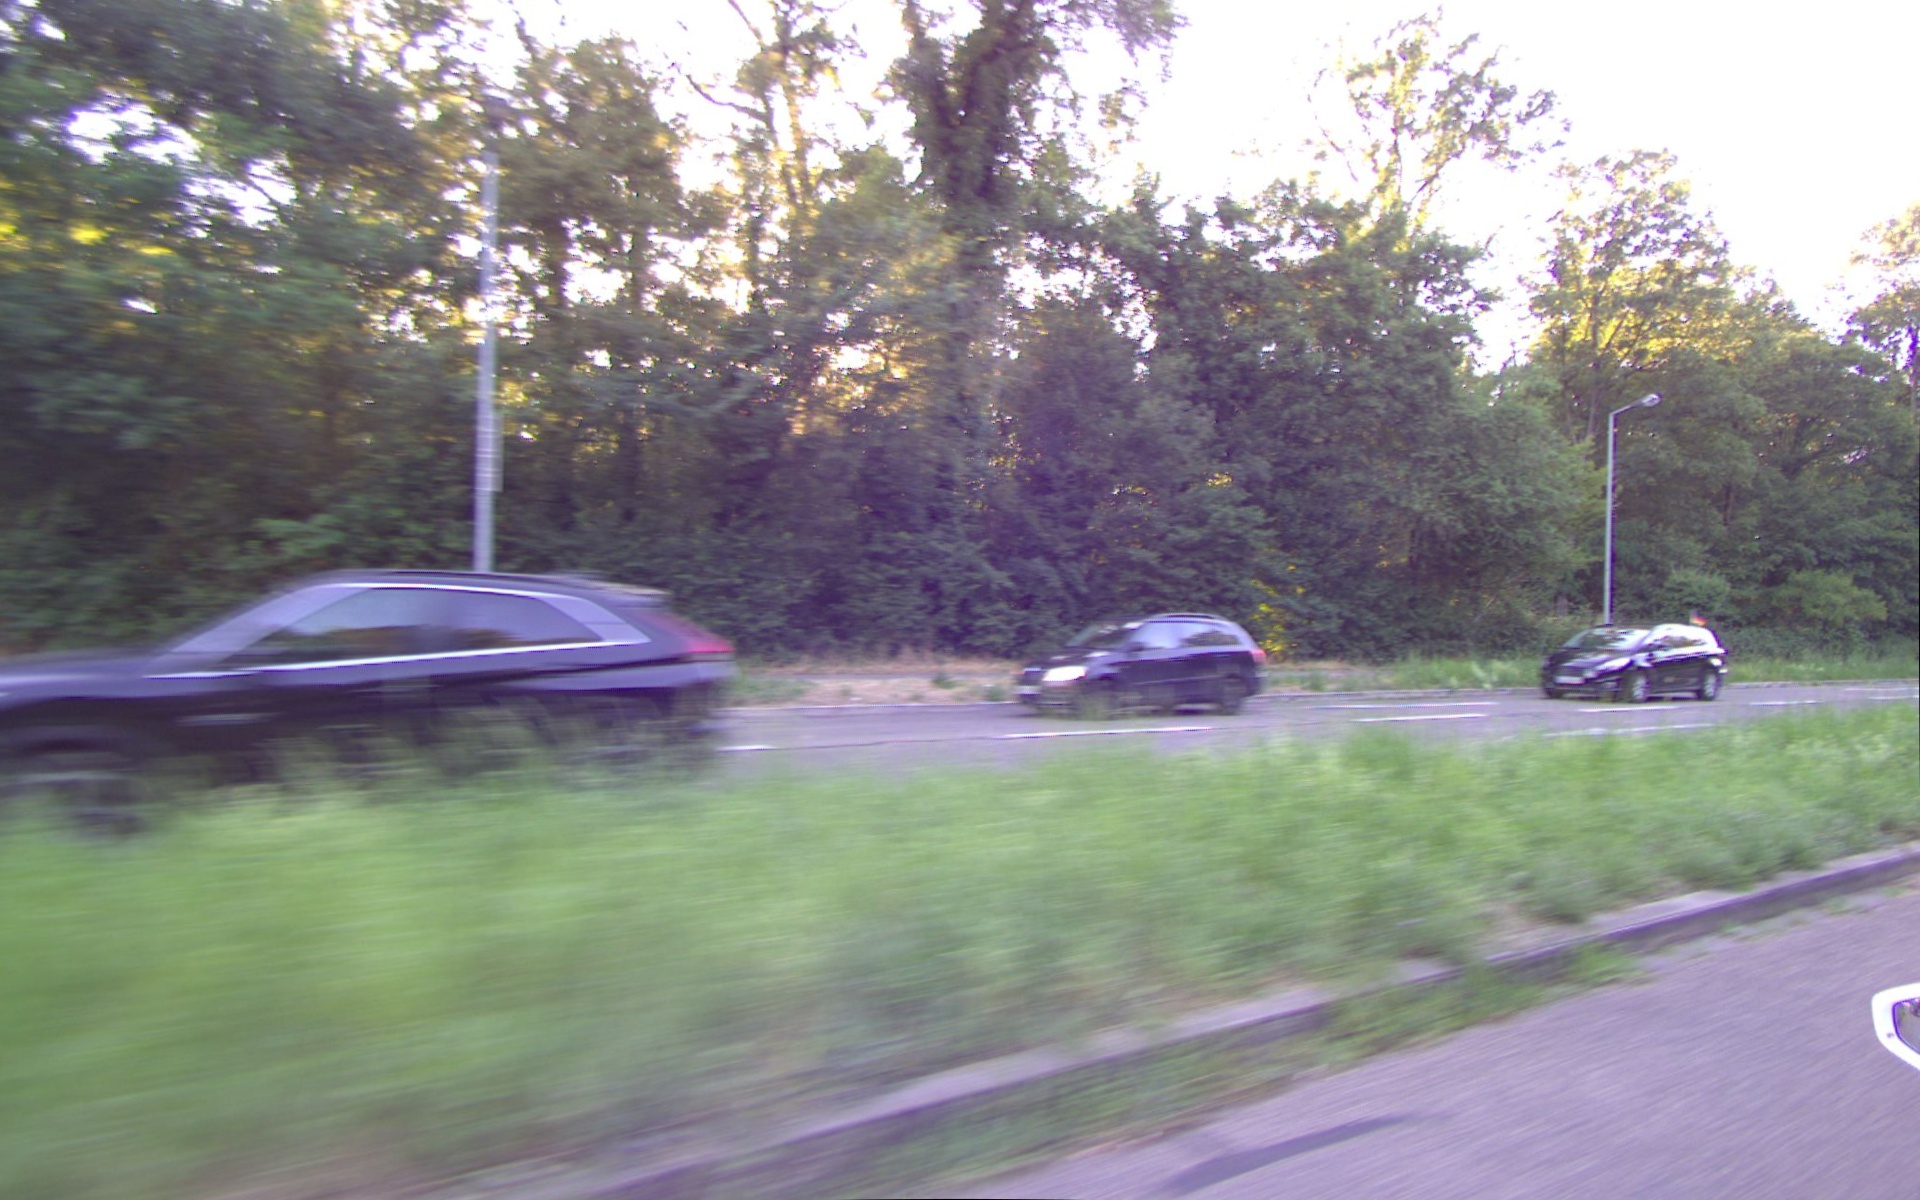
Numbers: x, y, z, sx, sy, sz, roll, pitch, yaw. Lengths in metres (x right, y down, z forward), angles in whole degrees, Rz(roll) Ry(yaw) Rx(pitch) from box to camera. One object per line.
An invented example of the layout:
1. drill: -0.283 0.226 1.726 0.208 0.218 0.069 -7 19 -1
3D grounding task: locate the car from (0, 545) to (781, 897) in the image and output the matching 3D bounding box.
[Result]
1. car: -3.549 0.635 6.386 4.402 1.649 1.804 2 -2 -32

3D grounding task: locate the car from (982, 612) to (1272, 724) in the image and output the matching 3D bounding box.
1. car: 2.586 0.989 15.322 4.183 1.499 1.815 2 -2 -30

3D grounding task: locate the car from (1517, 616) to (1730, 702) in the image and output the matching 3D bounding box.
1. car: 14.201 1.229 21.448 4.597 1.649 1.984 2 -2 -30
